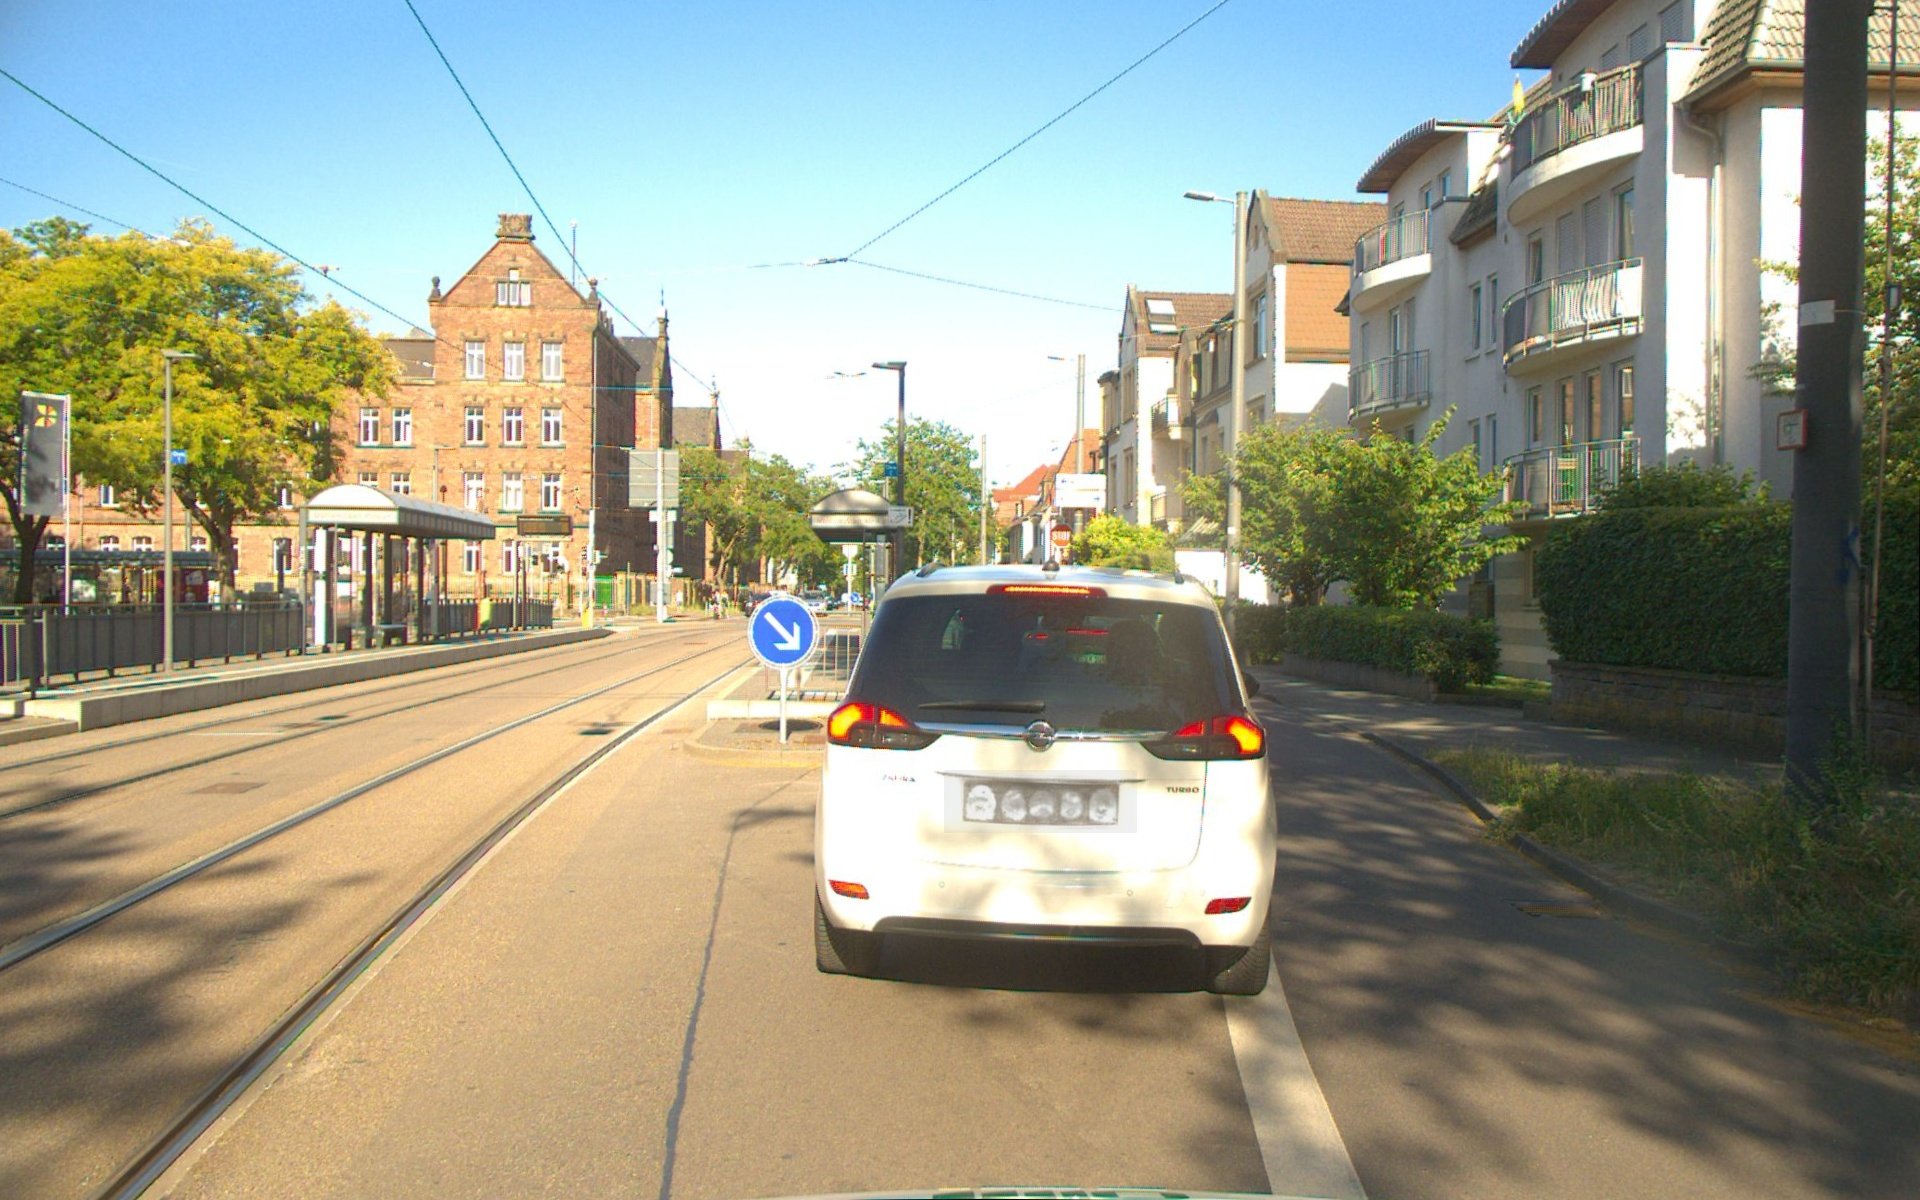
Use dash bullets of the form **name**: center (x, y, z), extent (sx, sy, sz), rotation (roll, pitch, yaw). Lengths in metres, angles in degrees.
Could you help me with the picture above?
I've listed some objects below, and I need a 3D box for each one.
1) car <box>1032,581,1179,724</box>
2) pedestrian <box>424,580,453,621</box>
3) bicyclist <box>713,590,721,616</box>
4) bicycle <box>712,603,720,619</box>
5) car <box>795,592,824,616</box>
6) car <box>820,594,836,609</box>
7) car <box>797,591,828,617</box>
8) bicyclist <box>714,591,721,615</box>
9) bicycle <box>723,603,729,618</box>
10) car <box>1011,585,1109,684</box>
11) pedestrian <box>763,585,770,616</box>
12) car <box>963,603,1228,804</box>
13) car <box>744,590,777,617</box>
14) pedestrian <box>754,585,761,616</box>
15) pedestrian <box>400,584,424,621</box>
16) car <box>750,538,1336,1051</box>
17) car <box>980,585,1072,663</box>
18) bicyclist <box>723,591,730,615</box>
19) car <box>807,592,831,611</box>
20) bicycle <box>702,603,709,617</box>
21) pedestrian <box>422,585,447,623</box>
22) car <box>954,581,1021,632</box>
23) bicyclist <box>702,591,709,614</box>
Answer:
- **car**: center (1.744, 0.588, 20.836), extent (1.603, 1.629, 3.855), rotation (0, 0, 1)
- **pedestrian**: center (-21.955, 0.037, 69.695), extent (0.877, 1.713, 1.029), rotation (1, 0, -1)
- **bicyclist**: center (-15.159, 0.189, 103.038), extent (0.435, 1.580, 0.742), rotation (0, 0, -4)
- **bicycle**: center (-15.168, 0.664, 102.830), extent (0.337, 0.966, 1.159), rotation (1, 0, -4)
- **car**: center (-10.358, 0.276, 114.244), extent (1.955, 1.657, 3.996), rotation (0, 0, -5)
- **car**: center (-15.705, 0.165, 196.677), extent (1.955, 1.657, 3.984), rotation (0, 0, -5)
- **car**: center (-9.553, 0.259, 107.151), extent (1.955, 1.657, 3.996), rotation (0, 0, -5)
- **bicyclist**: center (-15.581, 0.197, 106.314), extent (0.435, 1.580, 0.495), rotation (0, 0, -4)
- **bicycle**: center (-15.400, 0.687, 108.908), extent (0.337, 0.966, 0.996), rotation (1, 0, -4)
- **car**: center (1.716, 0.555, 29.264), extent (1.603, 1.629, 3.855), rotation (0, 0, 1)
- **pedestrian**: center (-13.076, 0.031, 112.035), extent (0.435, 2.049, 0.495), rotation (0, 0, -4)
- **car**: center (1.035, 0.750, 13.977), extent (1.912, 1.422, 4.001), rotation (0, 0, 1)
- **car**: center (-12.863, 0.209, 106.877), extent (1.955, 1.657, 3.996), rotation (0, 0, -5)
- **pedestrian**: center (-13.654, 0.020, 111.756), extent (0.435, 2.049, 0.495), rotation (0, 0, -4)
- **pedestrian**: center (-24.387, 0.101, 73.610), extent (0.786, 1.616, 0.934), rotation (1, 0, -3)
- **car**: center (0.462, 0.650, 7.589), extent (1.951, 1.673, 3.996), rotation (1, 0, 6)
- **car**: center (1.381, 0.498, 36.183), extent (1.793, 1.607, 4.009), rotation (0, 0, -1)
- **bicyclist**: center (-15.390, 0.212, 108.901), extent (0.435, 1.580, 0.495), rotation (0, 0, -4)
- **car**: center (-12.372, 0.105, 145.281), extent (1.953, 1.657, 3.998), rotation (0, 0, -3)
- **bicycle**: center (-17.662, 0.673, 114.849), extent (0.337, 0.966, 0.996), rotation (1, 0, -4)
- **pedestrian**: center (-22.650, 0.191, 71.345), extent (0.786, 1.616, 0.934), rotation (1, 0, -3)
- **car**: center (0.829, 0.199, 51.760), extent (1.953, 1.529, 3.999), rotation (0, 0, -1)
- **bicyclist**: center (-17.656, 0.197, 114.813), extent (0.435, 1.580, 0.495), rotation (0, 0, -4)
